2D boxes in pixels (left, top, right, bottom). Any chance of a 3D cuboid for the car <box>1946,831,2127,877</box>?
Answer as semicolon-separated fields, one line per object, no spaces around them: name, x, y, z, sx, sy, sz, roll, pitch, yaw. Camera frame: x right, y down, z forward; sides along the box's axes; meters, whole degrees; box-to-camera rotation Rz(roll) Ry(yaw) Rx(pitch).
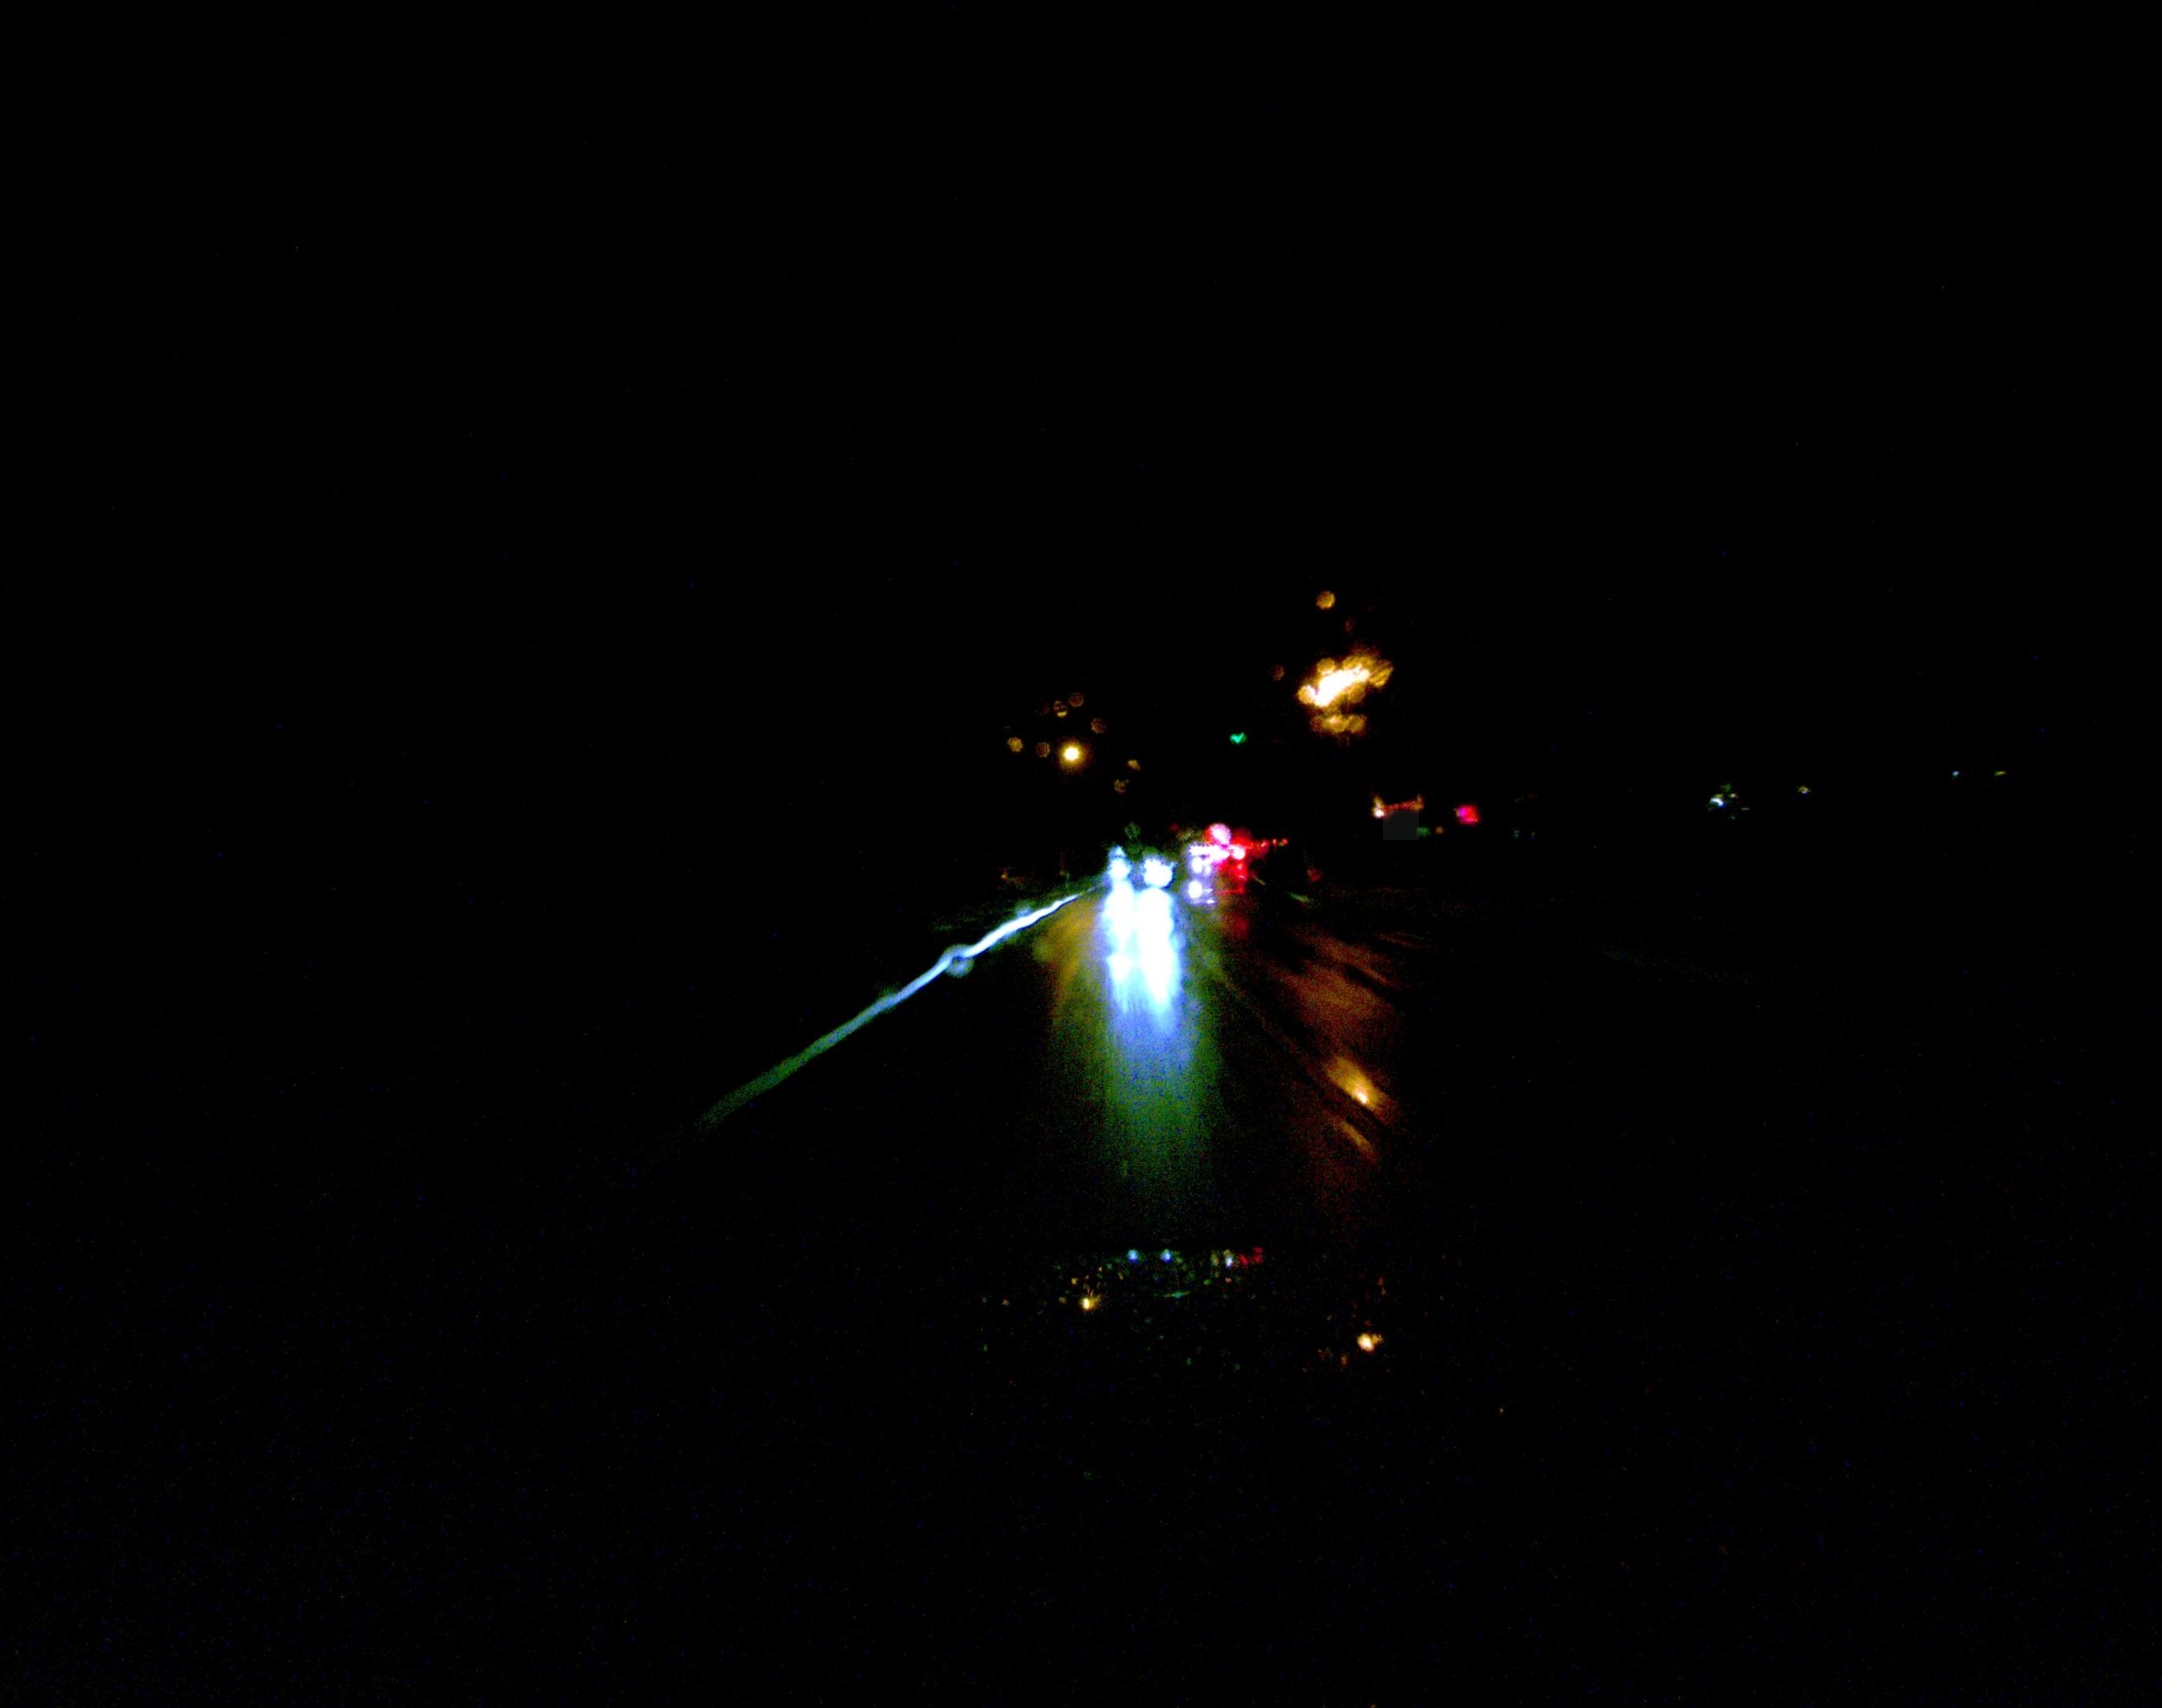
car;41.414;-0.059;33.138;1.942;1.688;4.624;-4;3;-3

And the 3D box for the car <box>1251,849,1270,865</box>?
car;19.738;0.325;83.303;1.697;1.590;3.804;-2;2;18

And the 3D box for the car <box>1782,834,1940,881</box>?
car;33.372;0.075;32.733;1.942;1.688;4.624;-4;3;-3

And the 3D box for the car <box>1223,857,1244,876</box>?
car;12.966;1.008;64.451;1.637;1.502;4.121;0;1;13

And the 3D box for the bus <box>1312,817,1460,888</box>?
bus;19.265;-0.252;49.475;2.902;3.847;13.047;-3;2;-7

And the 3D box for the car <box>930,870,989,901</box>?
car;-6.534;1.663;41.222;1.637;1.502;3.680;0;1;18

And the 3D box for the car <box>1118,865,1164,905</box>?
car;2.958;1.448;36.758;1.958;1.711;4.002;-2;0;7

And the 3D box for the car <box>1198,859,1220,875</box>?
car;12.715;1.252;75.382;1.590;1.286;3.367;-4;3;1

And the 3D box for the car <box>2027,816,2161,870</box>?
car;44.426;-0.534;32.834;1.999;2.045;3.996;-4;3;-6

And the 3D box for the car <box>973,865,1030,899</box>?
car;-4.122;1.441;39.962;1.637;1.610;3.540;0;1;18

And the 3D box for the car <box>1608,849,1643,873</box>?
car;39.634;0.470;55.242;1.855;1.391;4.045;3;6;38

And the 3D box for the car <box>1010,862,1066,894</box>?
car;-2.129;1.179;38.544;1.637;1.390;3.679;-2;1;17

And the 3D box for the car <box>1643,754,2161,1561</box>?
car;3.642;0.680;1.014;1.999;2.001;4.845;-4;-1;-1

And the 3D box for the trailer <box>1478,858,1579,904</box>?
trailer;18.032;1.043;30.841;1.817;1.667;4.101;0;1;3

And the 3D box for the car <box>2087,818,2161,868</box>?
car;46.879;-0.479;32.697;1.764;2.045;3.996;-4;3;-6

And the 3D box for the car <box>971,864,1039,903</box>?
car;-3.335;1.271;34.080;1.676;1.557;3.806;-2;0;17

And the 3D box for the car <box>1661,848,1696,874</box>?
car;41.857;0.437;53.252;1.855;1.391;4.045;3;6;38
